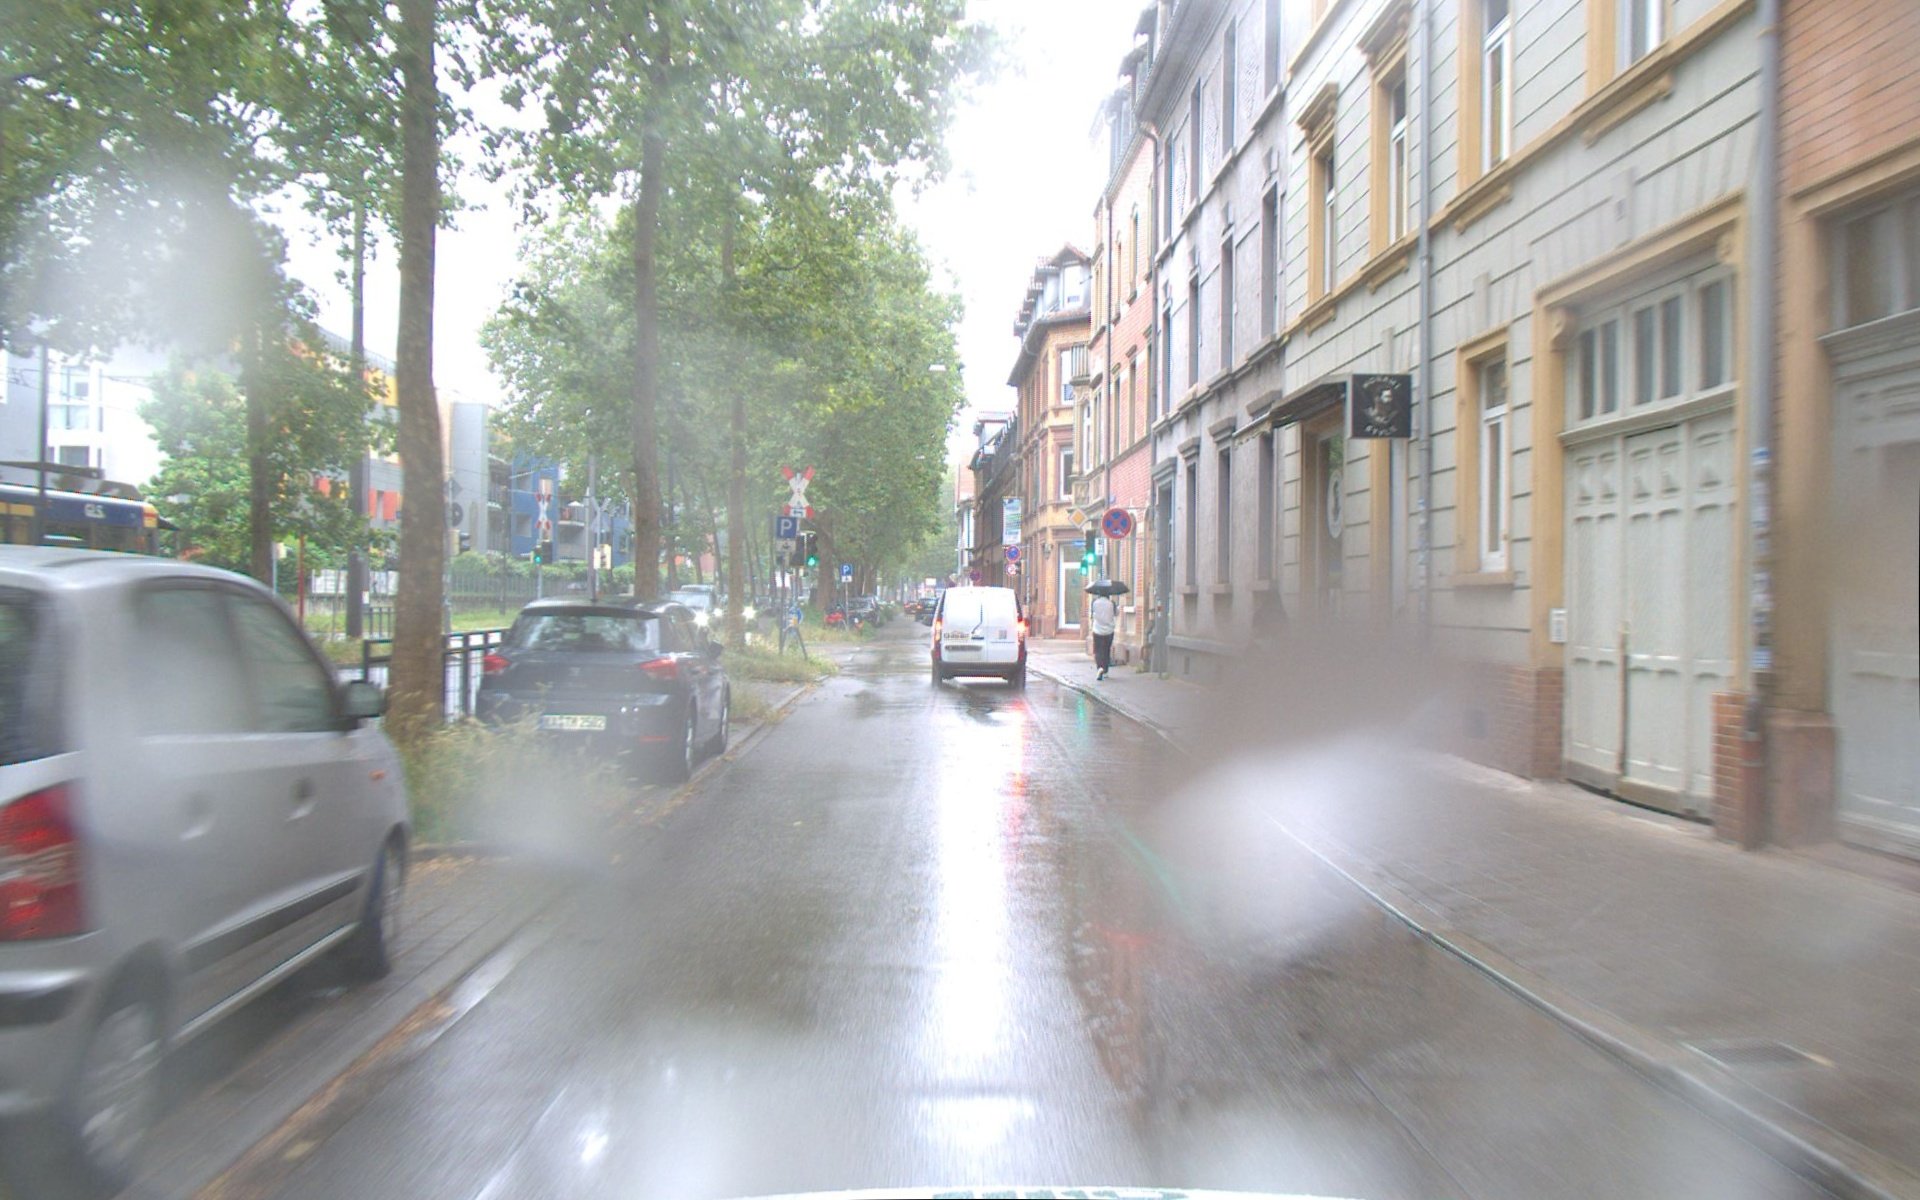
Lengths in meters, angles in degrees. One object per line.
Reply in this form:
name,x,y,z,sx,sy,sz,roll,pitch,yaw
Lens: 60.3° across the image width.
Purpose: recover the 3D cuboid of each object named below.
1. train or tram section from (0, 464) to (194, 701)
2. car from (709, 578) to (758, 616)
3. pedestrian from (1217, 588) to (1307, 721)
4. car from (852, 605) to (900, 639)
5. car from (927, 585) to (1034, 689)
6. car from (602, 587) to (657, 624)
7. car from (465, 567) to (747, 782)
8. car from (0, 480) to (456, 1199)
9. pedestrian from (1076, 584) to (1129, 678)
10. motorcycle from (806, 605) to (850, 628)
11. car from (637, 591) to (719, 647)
train or tram section,-16.195,-0.286,24.803,3.043,3.621,14.667,0,-1,-2
car,-10.176,-0.160,74.468,1.958,1.641,4.119,1,0,-5
pedestrian,3.650,0.638,20.074,0.823,1.538,1.107,-2,0,-1
car,-3.770,0.982,74.960,1.953,1.411,4.000,1,0,0
car,0.326,0.698,31.277,1.865,1.829,4.112,1,-1,-1
car,-13.443,0.226,67.503,1.956,1.440,3.993,1,0,-8
car,-2.898,0.564,14.366,1.615,1.526,4.117,2,0,-2
car,-2.806,0.568,5.080,1.592,1.711,3.656,1,1,-4
pedestrian,2.766,0.588,32.214,0.823,1.746,1.107,-3,0,-1
motorcycle,-5.289,0.666,66.293,1.670,0.880,0.577,1,0,3
car,-8.651,0.549,50.996,1.957,1.641,3.998,1,0,-2
